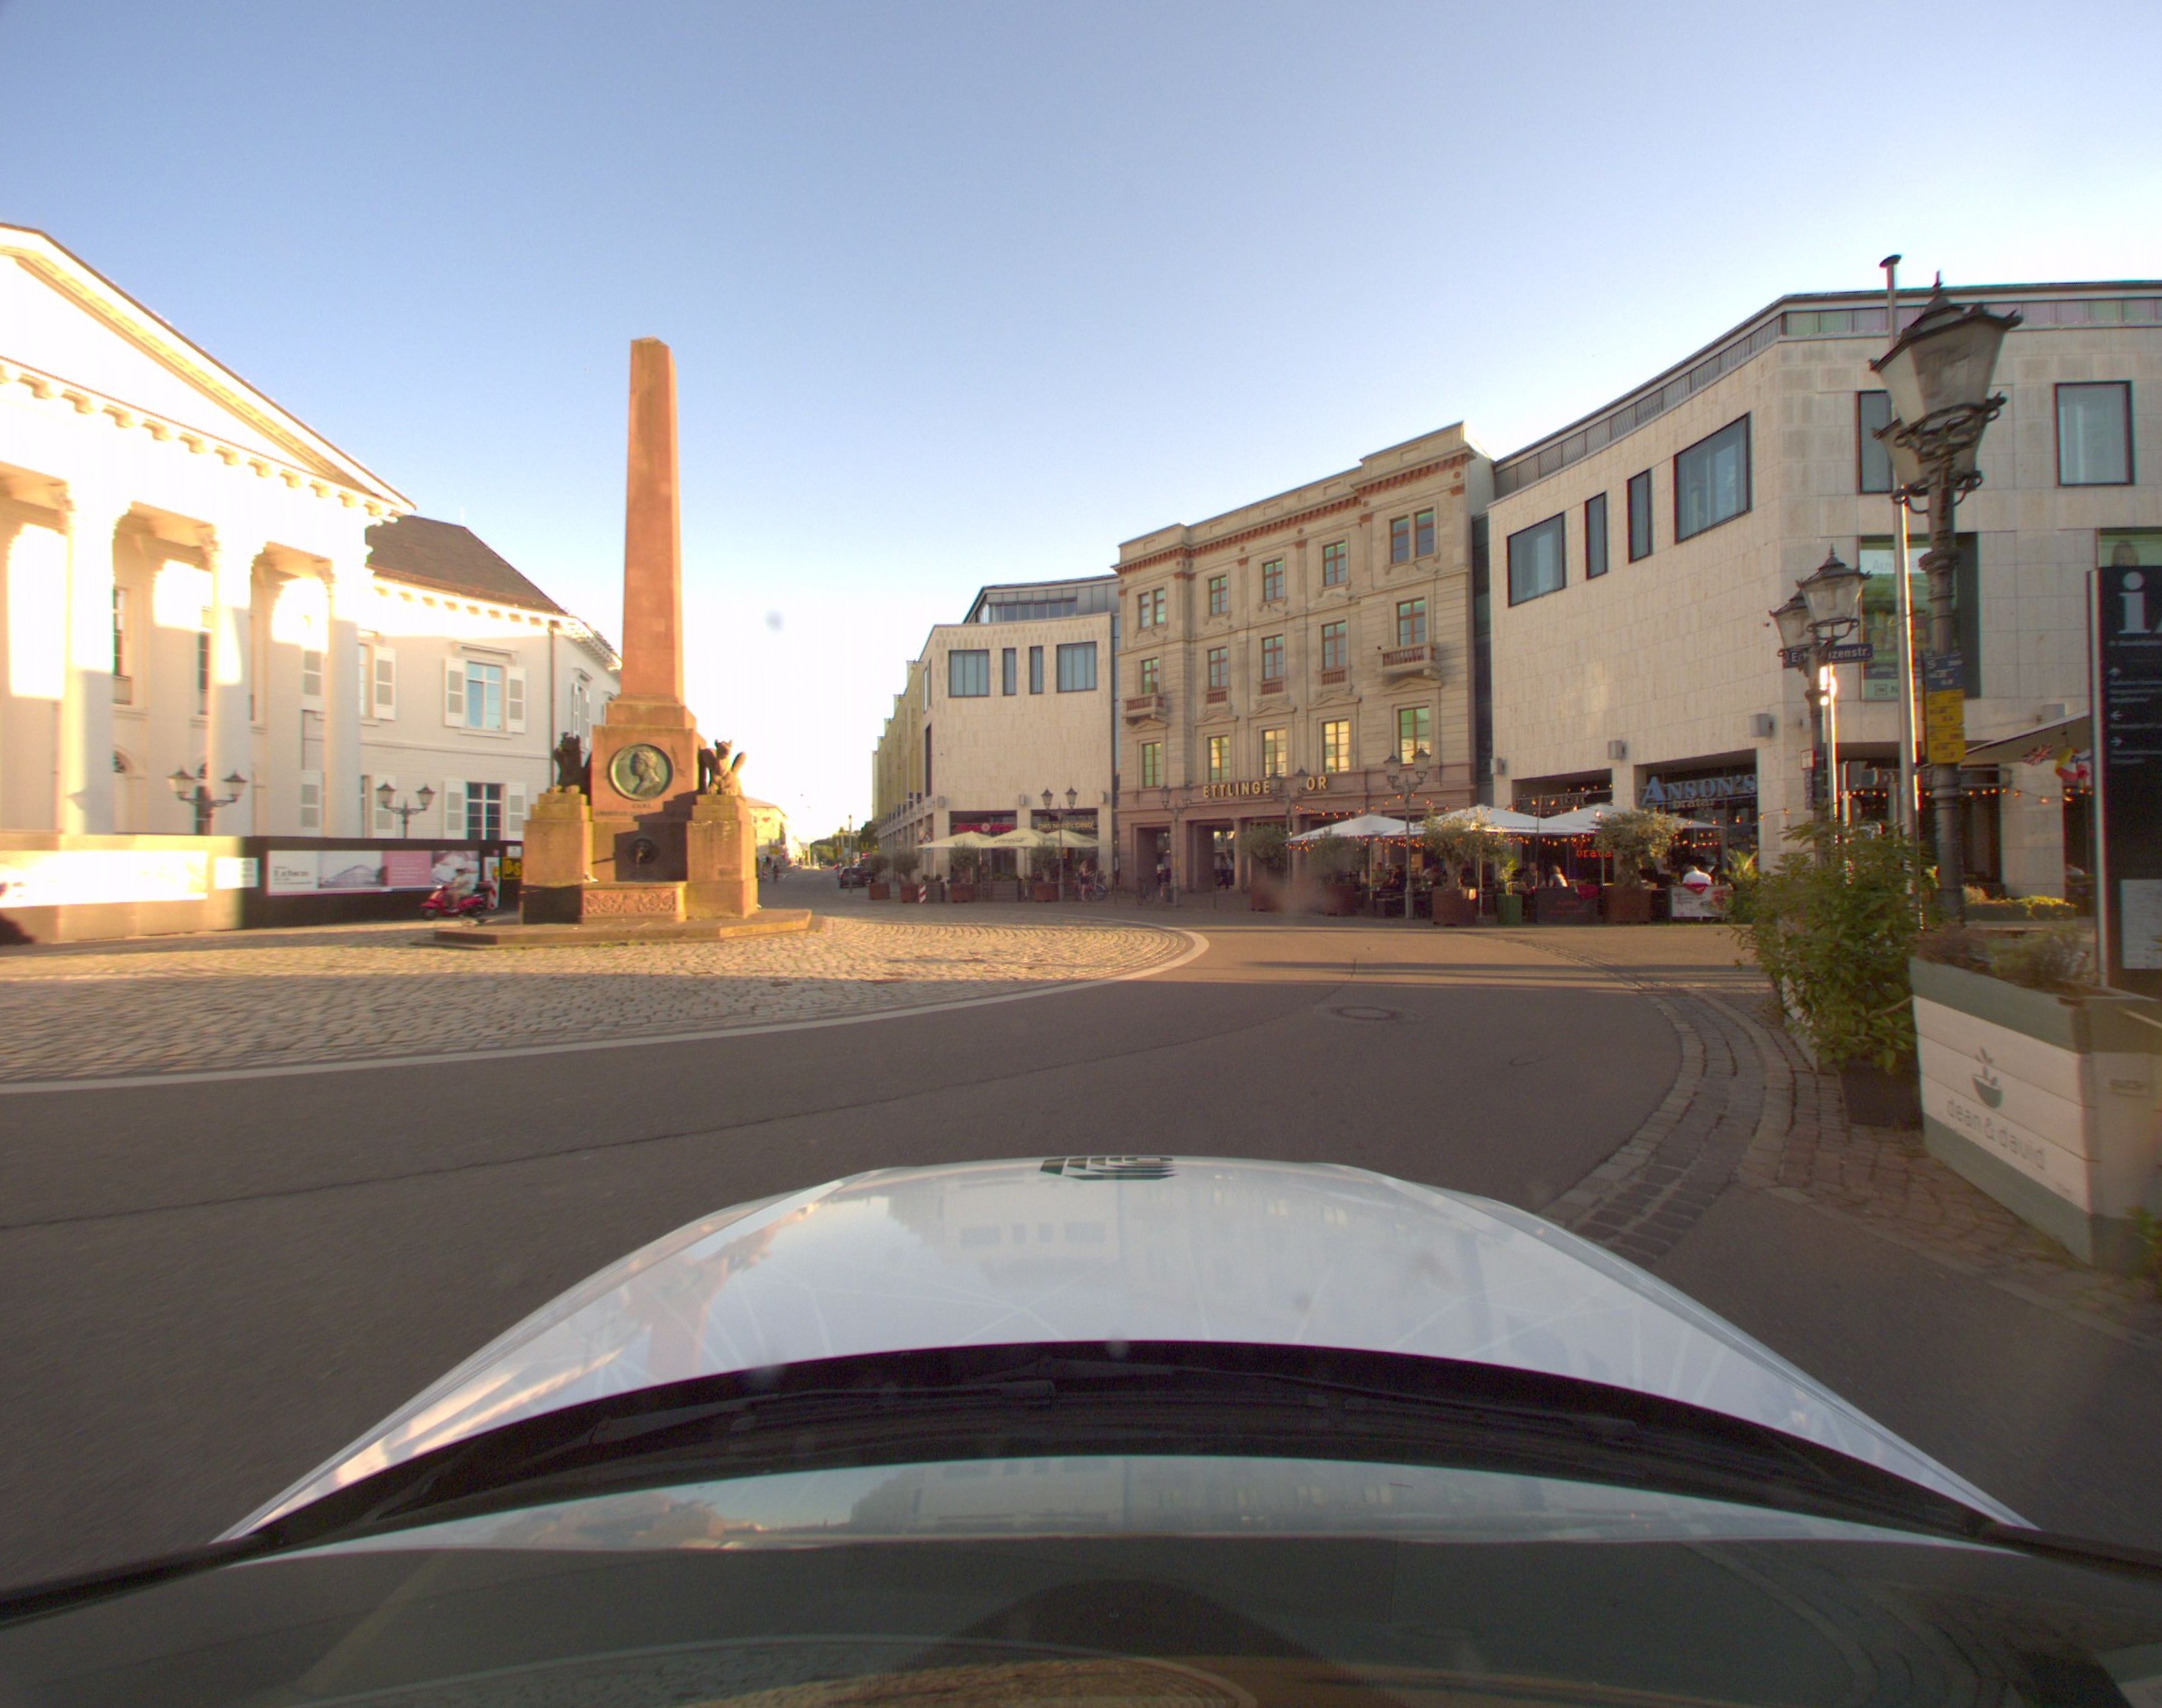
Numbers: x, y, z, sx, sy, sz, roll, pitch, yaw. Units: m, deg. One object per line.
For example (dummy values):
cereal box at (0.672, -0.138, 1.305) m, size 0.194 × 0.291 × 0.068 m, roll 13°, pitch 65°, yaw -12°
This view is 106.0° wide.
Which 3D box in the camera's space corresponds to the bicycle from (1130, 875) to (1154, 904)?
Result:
bicycle at (2.324, 1.346, 30.865) m, size 0.502 × 1.031 × 1.653 m, roll -1°, pitch -1°, yaw 19°

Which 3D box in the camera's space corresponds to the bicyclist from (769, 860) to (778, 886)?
bicyclist at (-26.846, 1.642, 71.082) m, size 0.601 × 2.242 × 0.799 m, roll -1°, pitch -1°, yaw -16°

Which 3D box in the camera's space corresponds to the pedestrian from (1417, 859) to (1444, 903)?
pedestrian at (11.877, 0.903, 27.694) m, size 0.589 × 1.478 × 0.623 m, roll -1°, pitch -1°, yaw -6°

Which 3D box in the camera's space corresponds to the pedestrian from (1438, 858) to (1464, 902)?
pedestrian at (12.722, 0.890, 28.016) m, size 0.543 × 1.478 × 0.623 m, roll -1°, pitch -1°, yaw -6°

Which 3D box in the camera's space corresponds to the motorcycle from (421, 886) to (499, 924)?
motorcycle at (-18.540, 1.496, 24.361) m, size 0.594 × 1.031 × 1.765 m, roll -1°, pitch -1°, yaw 26°

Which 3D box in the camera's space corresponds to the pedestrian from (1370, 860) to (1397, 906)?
pedestrian at (9.848, 0.929, 26.512) m, size 0.545 × 1.478 × 0.621 m, roll -1°, pitch -1°, yaw -16°

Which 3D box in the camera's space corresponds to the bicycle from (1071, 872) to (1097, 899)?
bicycle at (0.127, 1.304, 33.981) m, size 0.594 × 1.031 × 1.653 m, roll -1°, pitch -1°, yaw 19°

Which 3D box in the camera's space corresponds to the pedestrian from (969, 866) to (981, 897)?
pedestrian at (-4.837, 1.256, 37.228) m, size 0.505 × 1.398 × 0.495 m, roll -1°, pitch -1°, yaw -2°

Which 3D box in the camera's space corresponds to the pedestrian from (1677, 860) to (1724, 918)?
pedestrian at (14.457, 0.803, 19.026) m, size 0.545 × 1.310 × 0.725 m, roll -1°, pitch -1°, yaw 2°

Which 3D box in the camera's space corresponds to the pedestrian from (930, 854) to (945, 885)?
pedestrian at (-8.451, 0.915, 48.000) m, size 0.641 × 1.816 × 0.691 m, roll 0°, pitch -1°, yaw -34°

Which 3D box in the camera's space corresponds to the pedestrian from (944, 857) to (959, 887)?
pedestrian at (-7.838, 1.099, 49.252) m, size 0.711 × 1.787 × 0.640 m, roll 0°, pitch -1°, yaw -24°

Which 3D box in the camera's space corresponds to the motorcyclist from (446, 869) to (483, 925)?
motorcyclist at (-18.498, 1.281, 24.448) m, size 0.594 × 1.652 × 0.696 m, roll -1°, pitch -1°, yaw 26°

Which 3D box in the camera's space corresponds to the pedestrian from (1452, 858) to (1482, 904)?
pedestrian at (12.817, 0.878, 27.021) m, size 0.626 × 1.478 × 0.618 m, roll -1°, pitch -1°, yaw -27°

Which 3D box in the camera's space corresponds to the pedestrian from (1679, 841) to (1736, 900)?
pedestrian at (18.024, 0.458, 23.450) m, size 0.927 × 1.647 × 0.866 m, roll -1°, pitch -1°, yaw -5°

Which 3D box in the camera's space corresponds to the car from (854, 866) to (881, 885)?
car at (-17.398, 1.750, 66.301) m, size 1.997 × 1.464 × 3.979 m, roll -1°, pitch -1°, yaw -16°

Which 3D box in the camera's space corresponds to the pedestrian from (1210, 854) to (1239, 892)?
pedestrian at (6.989, 0.900, 39.784) m, size 0.976 × 1.823 × 0.978 m, roll 0°, pitch -1°, yaw -42°

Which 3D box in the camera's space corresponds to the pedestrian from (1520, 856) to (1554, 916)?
pedestrian at (11.446, 0.788, 20.440) m, size 0.526 × 1.478 × 0.563 m, roll -1°, pitch -1°, yaw 2°

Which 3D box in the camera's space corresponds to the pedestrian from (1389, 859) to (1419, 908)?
pedestrian at (10.137, 0.914, 25.573) m, size 0.588 × 1.478 × 0.680 m, roll -1°, pitch -1°, yaw -14°

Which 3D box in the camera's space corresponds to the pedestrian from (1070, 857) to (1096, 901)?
pedestrian at (0.077, 0.985, 32.550) m, size 0.904 × 1.728 × 0.847 m, roll -1°, pitch -1°, yaw -9°

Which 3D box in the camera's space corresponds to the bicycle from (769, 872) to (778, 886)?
bicycle at (-26.847, 2.177, 71.070) m, size 0.601 × 1.138 × 1.745 m, roll -1°, pitch -1°, yaw -16°

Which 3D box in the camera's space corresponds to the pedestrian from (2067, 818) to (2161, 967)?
pedestrian at (14.396, 0.497, 11.011) m, size 1.025 × 1.932 × 1.005 m, roll -1°, pitch -1°, yaw -15°

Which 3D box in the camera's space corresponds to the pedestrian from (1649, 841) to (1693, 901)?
pedestrian at (16.624, 0.482, 22.955) m, size 0.692 × 1.647 × 0.691 m, roll -1°, pitch -1°, yaw -6°

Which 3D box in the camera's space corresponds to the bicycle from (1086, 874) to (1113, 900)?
bicycle at (0.779, 1.358, 33.842) m, size 0.614 × 1.031 × 1.653 m, roll -1°, pitch -1°, yaw 19°

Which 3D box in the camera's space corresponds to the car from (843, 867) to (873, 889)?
car at (-15.854, 1.695, 57.957) m, size 1.997 × 1.464 × 3.979 m, roll -1°, pitch -1°, yaw -16°

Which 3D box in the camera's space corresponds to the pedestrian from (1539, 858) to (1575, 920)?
pedestrian at (11.460, 0.830, 19.608) m, size 0.526 × 1.478 × 0.563 m, roll -1°, pitch -1°, yaw 3°
